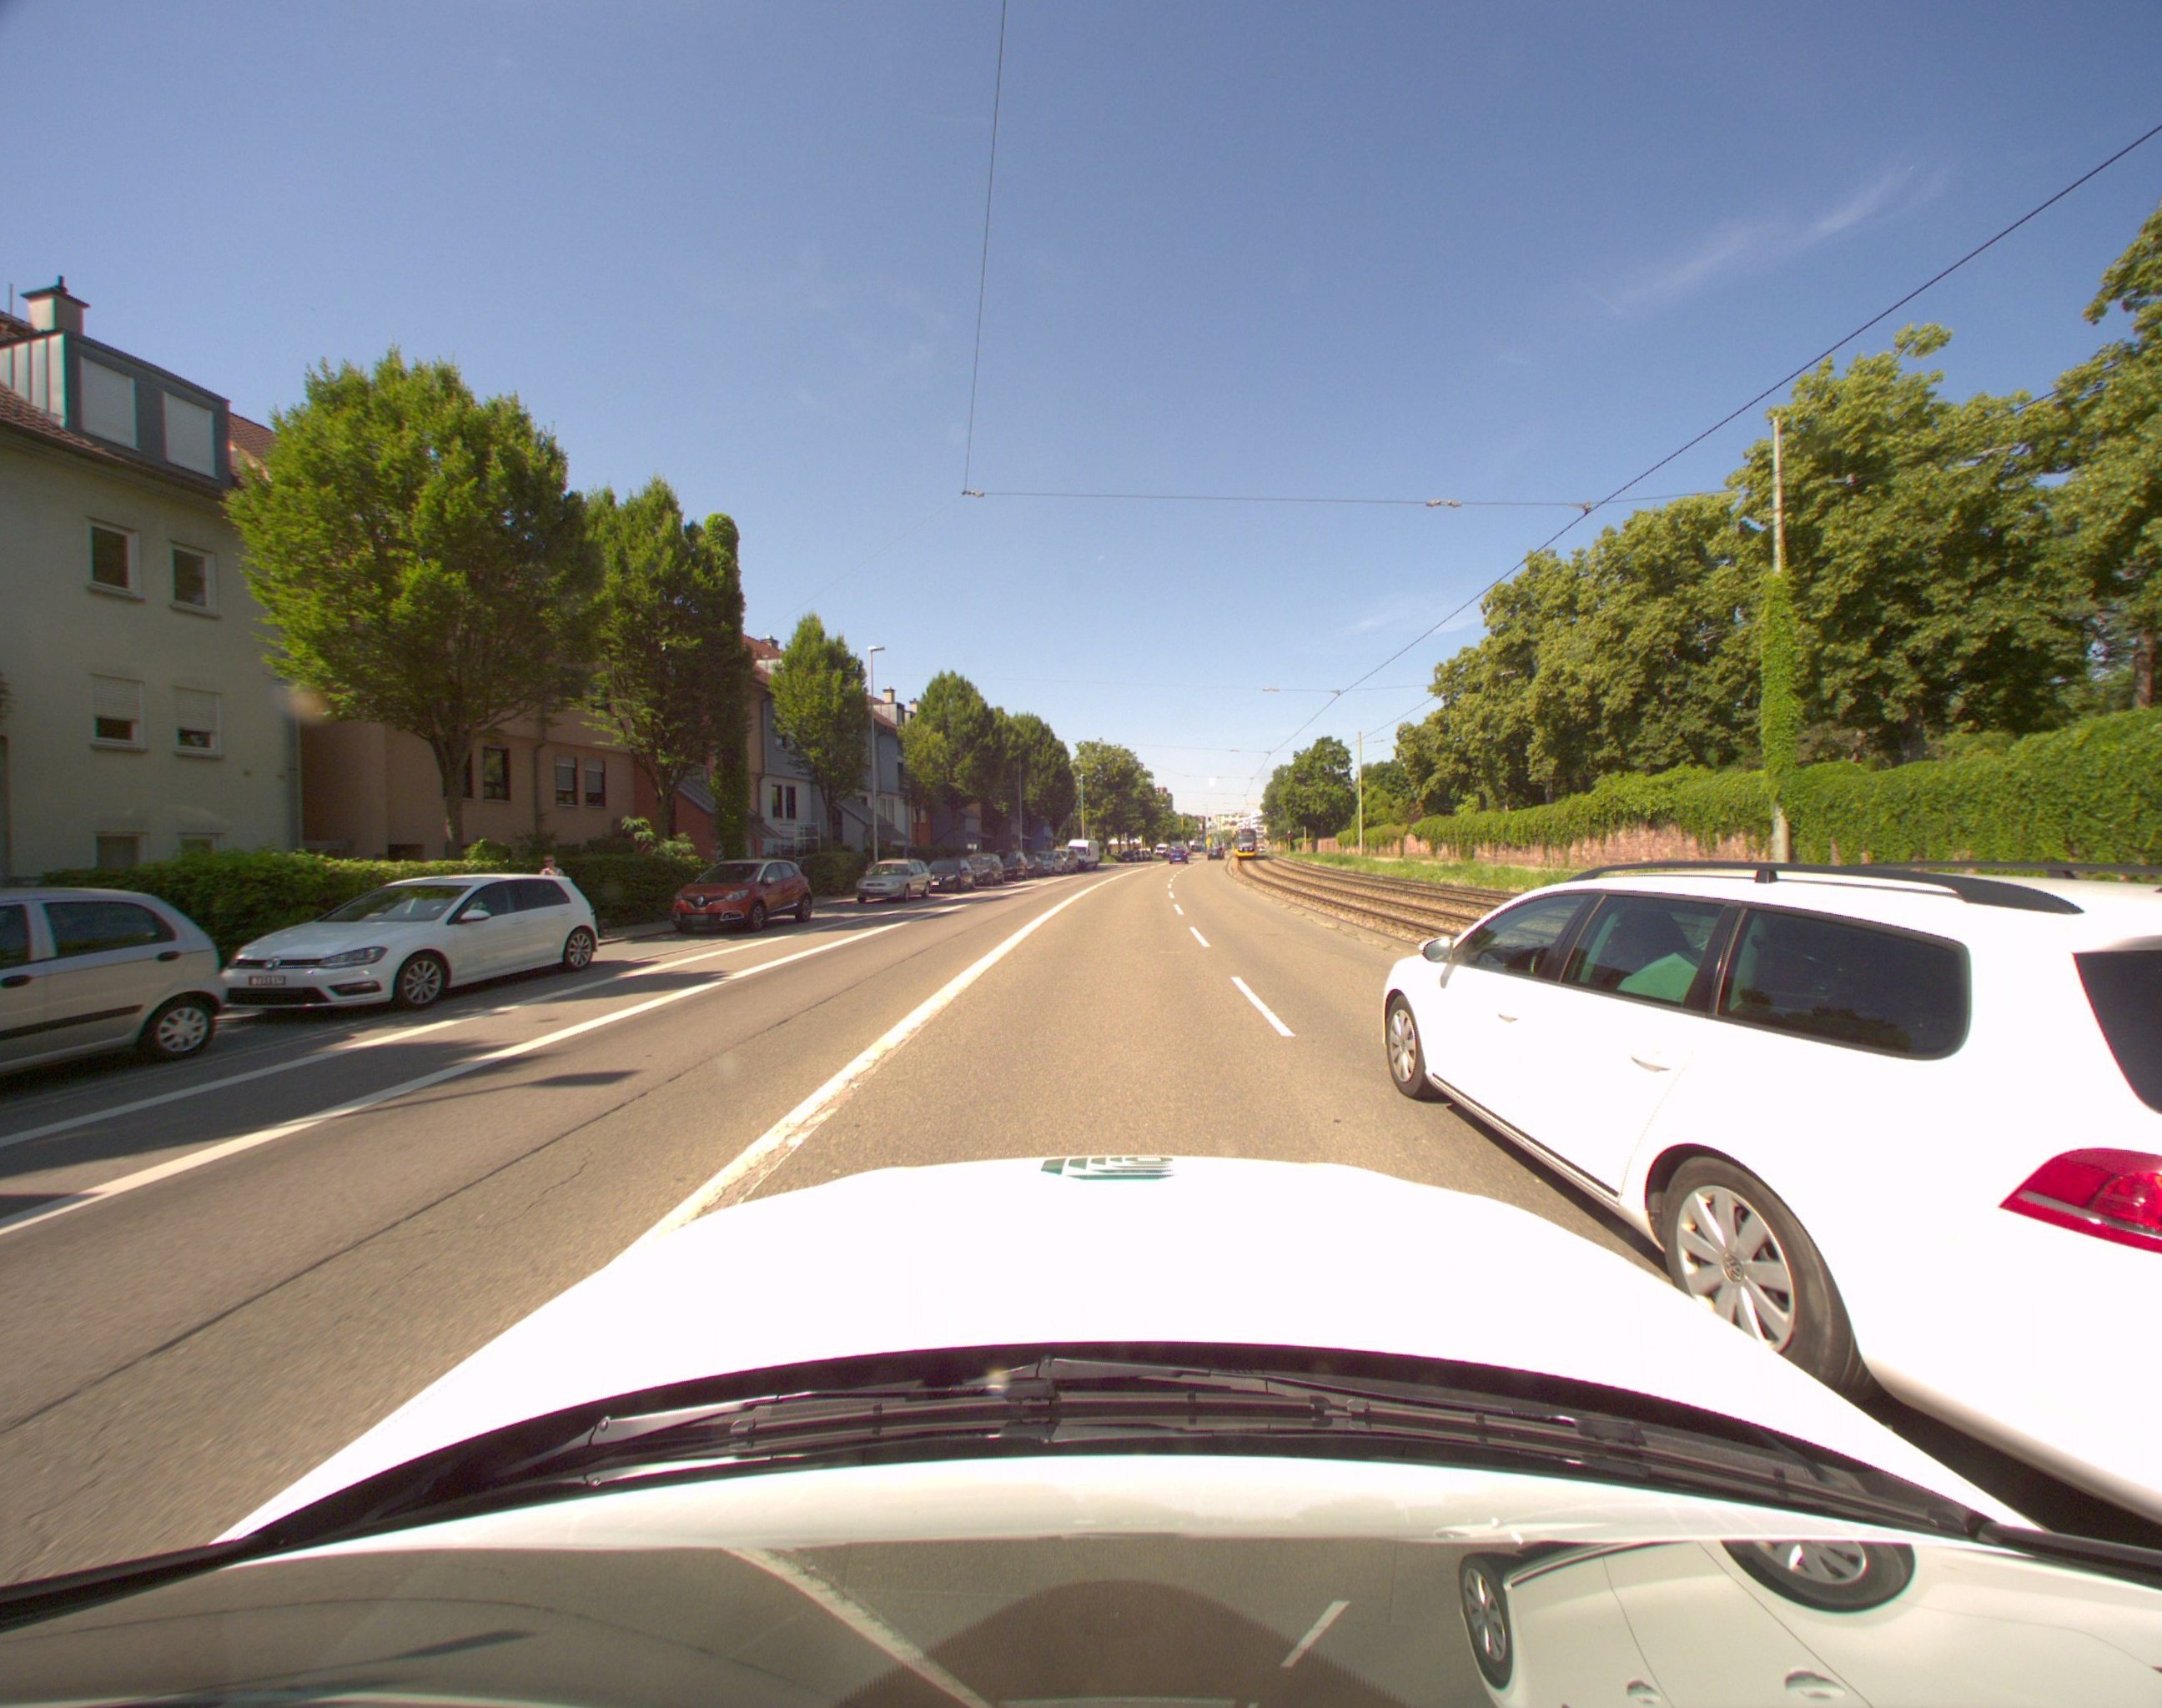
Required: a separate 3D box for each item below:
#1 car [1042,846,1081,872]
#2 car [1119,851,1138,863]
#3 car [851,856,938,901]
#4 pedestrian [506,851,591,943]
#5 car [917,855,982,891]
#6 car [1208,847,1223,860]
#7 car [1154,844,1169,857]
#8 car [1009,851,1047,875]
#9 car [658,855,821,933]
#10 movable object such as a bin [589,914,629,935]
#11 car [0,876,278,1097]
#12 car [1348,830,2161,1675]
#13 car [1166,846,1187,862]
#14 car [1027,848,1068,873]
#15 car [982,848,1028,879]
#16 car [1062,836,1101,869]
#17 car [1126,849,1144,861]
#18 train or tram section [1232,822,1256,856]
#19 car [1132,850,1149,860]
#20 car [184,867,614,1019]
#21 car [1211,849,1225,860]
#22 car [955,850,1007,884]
[{"bbox_3d":[-1.467,0.343,63.782,1.907,1.948,5.370,1,1,10],"label":"car"},{"bbox_3d":[5.961,0.316,101.903,1.687,1.417,4.015,-2,0,14],"label":"car"},{"bbox_3d":[-6.686,0.828,29.781,1.773,1.483,4.862,0,0,4],"label":"car"},{"bbox_3d":[-10.236,0.796,15.698,0.871,1.690,1.056,-2,0,2],"label":"pedestrian"},{"bbox_3d":[-5.796,0.787,36.356,1.714,1.474,4.722,0,0,5],"label":"car"},{"bbox_3d":[16.233,-0.049,98.092,1.789,1.507,4.012,0,1,10],"label":"car"},{"bbox_3d":[14.725,-0.630,148.373,1.866,2.415,5.136,-2,0,14],"label":"car"},{"bbox_3d":[-3.413,0.556,53.110,1.681,1.474,4.058,1,1,8],"label":"car"},{"bbox_3d":[-7.691,0.822,18.834,1.723,1.551,4.322,0,0,3],"label":"car"},{"bbox_3d":[-9.543,1.422,16.472,0.325,0.354,0.756,-2,0,3],"label":"movable object such as a bin"},{"bbox_3d":[-8.403,0.963,5.858,1.604,1.483,3.636,0,0,1],"label":"car"},{"bbox_3d":[2.734,0.658,3.633,1.685,1.451,4.460,-1,0,1],"label":"car"},{"bbox_3d":[9.258,-0.025,79.046,1.789,1.507,4.012,0,1,10],"label":"car"},{"bbox_3d":[-2.333,0.428,58.449,1.789,1.724,4.925,2,1,11],"label":"car"},{"bbox_3d":[-4.370,0.519,47.567,1.760,1.723,4.878,1,0,6],"label":"car"},{"bbox_3d":[0.140,-0.122,71.913,1.981,2.714,7.180,1,1,12],"label":"car"},{"bbox_3d":[7.222,0.110,109.307,1.687,1.482,4.015,-2,0,14],"label":"car"},{"bbox_3d":[19.827,-1.754,98.683,2.494,3.747,13.355,-2,0,12],"label":"train or tram section"},{"bbox_3d":[8.410,0.122,114.607,1.687,1.352,4.015,-2,0,14],"label":"car"},{"bbox_3d":[-8.154,0.938,10.404,1.750,1.429,4.285,0,0,3],"label":"car"},{"bbox_3d":[18.831,0.080,111.967,1.789,1.460,4.011,-2,0,10],"label":"car"},{"bbox_3d":[-5.101,0.616,42.182,1.708,1.625,4.321,0,0,7],"label":"car"}]
